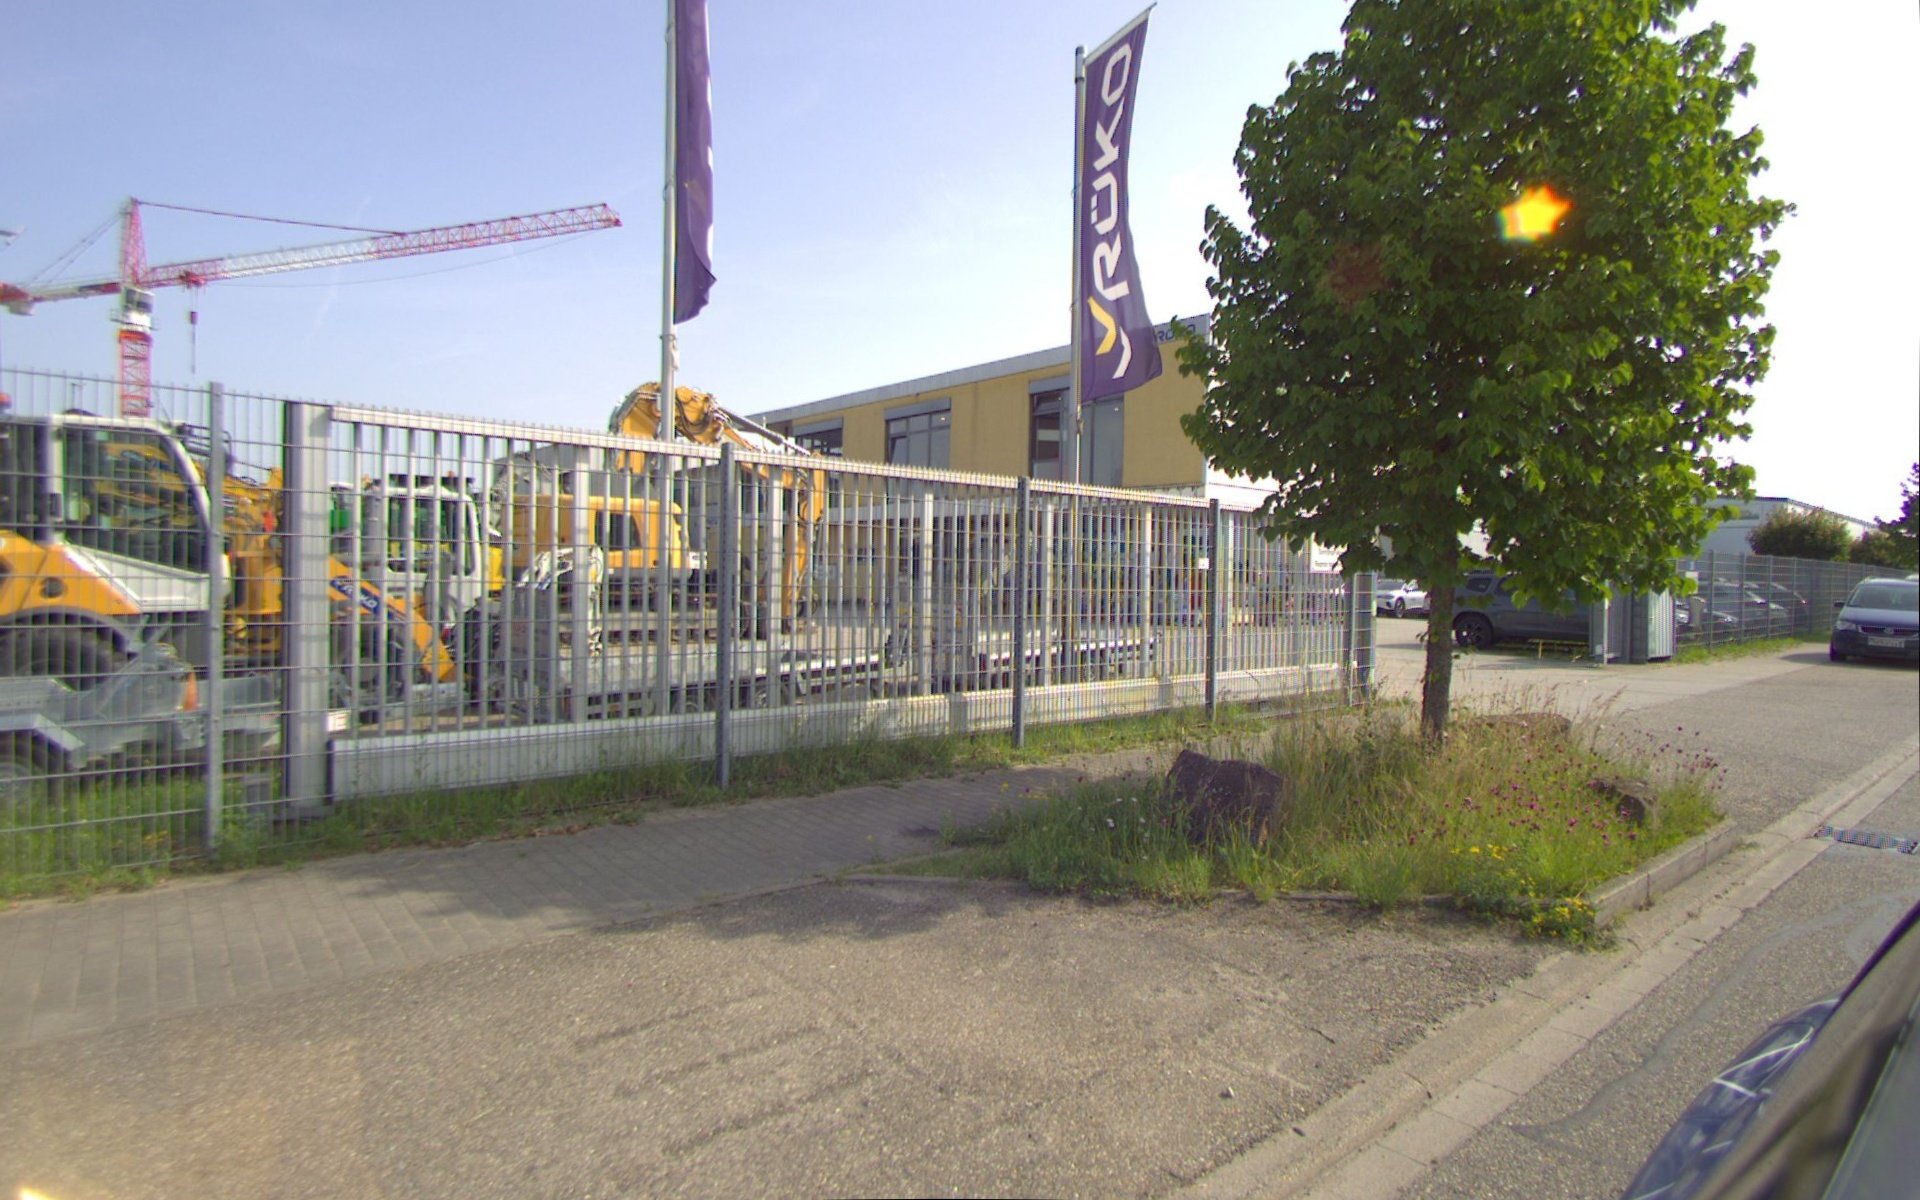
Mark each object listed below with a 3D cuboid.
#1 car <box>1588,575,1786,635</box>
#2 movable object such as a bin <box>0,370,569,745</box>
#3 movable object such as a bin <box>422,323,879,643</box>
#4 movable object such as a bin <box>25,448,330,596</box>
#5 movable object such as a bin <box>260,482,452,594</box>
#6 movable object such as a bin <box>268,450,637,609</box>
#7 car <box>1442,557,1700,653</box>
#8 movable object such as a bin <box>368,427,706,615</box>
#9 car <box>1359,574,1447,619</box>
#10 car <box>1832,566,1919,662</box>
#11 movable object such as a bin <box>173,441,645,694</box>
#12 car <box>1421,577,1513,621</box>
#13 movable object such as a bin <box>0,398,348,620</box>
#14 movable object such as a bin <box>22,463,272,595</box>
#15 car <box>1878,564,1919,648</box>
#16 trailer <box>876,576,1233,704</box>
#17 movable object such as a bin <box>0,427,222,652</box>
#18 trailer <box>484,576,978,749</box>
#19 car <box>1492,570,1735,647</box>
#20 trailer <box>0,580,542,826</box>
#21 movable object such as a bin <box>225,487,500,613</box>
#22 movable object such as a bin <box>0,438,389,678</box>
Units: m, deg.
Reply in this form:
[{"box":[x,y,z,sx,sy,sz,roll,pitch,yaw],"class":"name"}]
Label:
[{"box":[19.046,0.071,26.621,1.761,1.388,3.991,0,2,-44],"class":"car"},{"box":[-6.484,-0.352,9.278,5.068,2.786,1.891,0,2,-40],"class":"movable object such as a bin"},{"box":[-5.591,-1.820,19.176,7.540,4.866,3.322,0,1,-42],"class":"movable object such as a bin"},{"box":[-23.376,-2.189,30.550,7.083,3.977,2.469,-1,3,-44],"class":"movable object such as a bin"},{"box":[-23.269,-2.298,39.137,5.925,3.977,2.720,-1,3,-45],"class":"movable object such as a bin"},{"box":[-10.166,-1.271,20.664,6.239,2.749,2.705,0,2,-42],"class":"movable object such as a bin"},{"box":[12.418,0.023,20.734,4.224,1.759,1.870,2,2,43],"class":"car"},{"box":[-10.227,-1.727,24.938,7.083,3.978,2.923,0,2,-42],"class":"movable object such as a bin"},{"box":[18.262,-0.159,41.676,1.890,1.712,4.300,2,1,45],"class":"car"},{"box":[18.730,0.202,19.892,4.175,1.741,1.829,-1,2,-41],"class":"car"},{"box":[-6.451,-0.356,12.167,4.675,2.489,1.999,0,2,-37],"class":"movable object such as a bin"},{"box":[19.498,-0.049,38.823,1.890,1.576,4.300,2,1,45],"class":"car"},{"box":[-15.900,-1.658,20.559,5.616,3.921,2.690,0,2,-40],"class":"movable object such as a bin"},{"box":[-25.734,-2.140,32.210,6.041,3.827,2.454,-1,3,-44],"class":"movable object such as a bin"},{"box":[22.686,0.102,23.023,4.517,1.811,1.998,-1,2,-39],"class":"car"},{"box":[1.324,0.377,13.001,4.482,1.327,1.998,-1,2,-39],"class":"trailer"},{"box":[-13.564,-0.865,14.776,4.412,3.069,1.997,0,2,-40],"class":"movable object such as a bin"},{"box":[-2.040,0.446,9.719,4.220,1.259,1.948,0,2,-42],"class":"trailer"},{"box":[14.494,0.138,22.618,1.867,1.514,4.229,1,1,-43],"class":"car"},{"box":[-5.442,0.529,6.449,4.713,1.259,2.130,0,2,-42],"class":"trailer"},{"box":[-14.706,-1.153,25.162,5.592,2.803,2.058,0,2,-42],"class":"movable object such as a bin"},{"box":[-10.254,-0.495,12.410,5.243,2.522,2.929,0,2,-40],"class":"movable object such as a bin"}]
